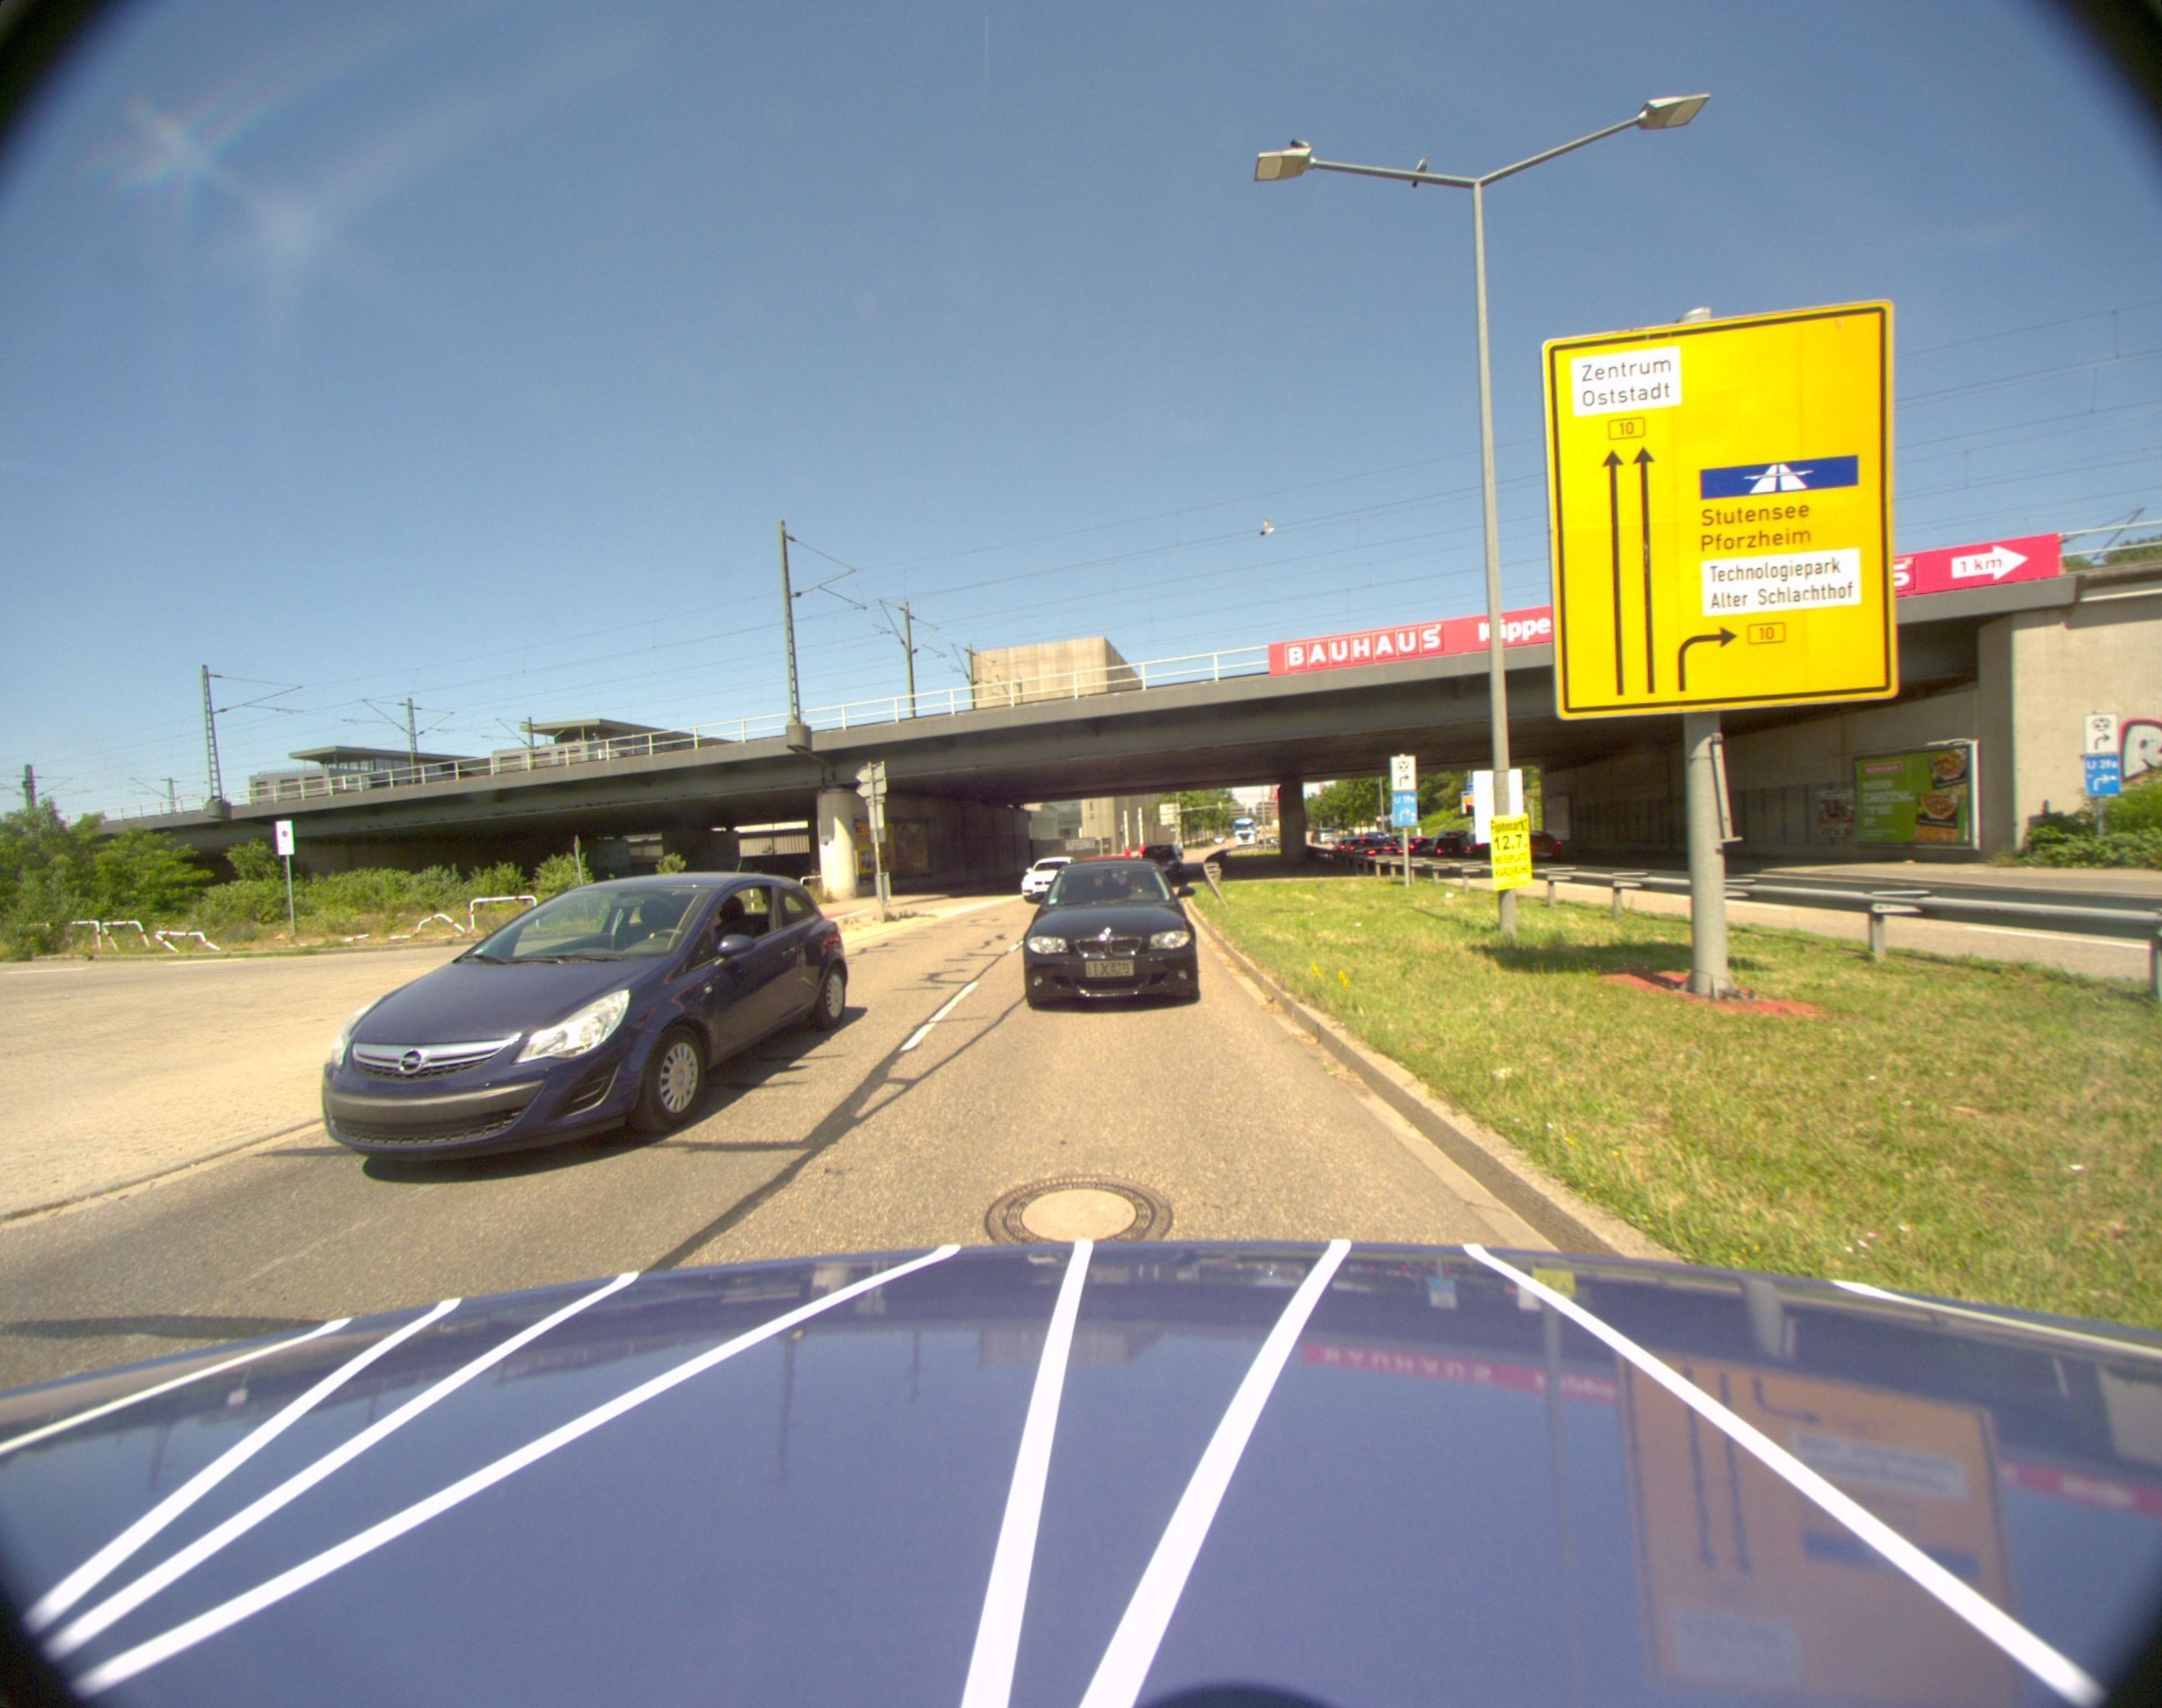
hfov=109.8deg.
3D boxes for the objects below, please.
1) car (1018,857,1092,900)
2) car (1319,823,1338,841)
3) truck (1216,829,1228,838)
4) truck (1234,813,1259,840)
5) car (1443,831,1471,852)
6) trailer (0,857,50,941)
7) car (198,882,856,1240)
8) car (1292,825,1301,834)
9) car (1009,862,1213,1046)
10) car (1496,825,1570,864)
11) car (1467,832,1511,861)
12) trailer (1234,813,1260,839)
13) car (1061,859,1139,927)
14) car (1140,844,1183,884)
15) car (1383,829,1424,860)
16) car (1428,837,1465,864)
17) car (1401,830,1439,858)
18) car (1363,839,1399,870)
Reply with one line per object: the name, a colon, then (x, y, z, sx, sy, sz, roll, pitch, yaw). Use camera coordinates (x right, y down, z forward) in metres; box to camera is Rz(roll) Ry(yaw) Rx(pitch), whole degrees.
car: (-0.867, 0.858, 28.143, 1.761, 1.435, 4.056, -1, 0, 12)
car: (29.854, -2.679, 91.644, 1.996, 2.002, 4.004, -2, 1, 17)
truck: (25.495, -3.649, 137.128, 1.729, 1.493, 4.003, -2, 1, 14)
truck: (22.747, -3.734, 104.344, 3.017, 3.398, 6.572, -2, 1, 14)
car: (23.631, -0.814, 47.795, 1.184, 1.241, 2.695, -2, 1, 19)
trailer: (-53.863, 2.280, 34.638, 2.582, 4.100, 10.032, -3, 1, -18)
car: (-3.105, 1.019, 5.398, 1.650, 1.436, 3.891, -2, 0, 2)
car: (55.370, -6.283, 194.981, 1.996, 2.002, 4.003, -2, 1, 14)
car: (0.200, 0.873, 8.506, 1.682, 1.409, 4.055, -2, 1, -2)
car: (20.854, -0.462, 35.257, 1.774, 1.658, 4.018, -2, 1, 13)
car: (22.038, -0.433, 41.114, 1.572, 1.494, 3.411, -2, 1, 19)
trailer: (24.291, -3.970, 110.512, 2.960, 3.354, 13.906, -2, 1, 15)
car: (0.523, 0.835, 18.155, 1.646, 1.391, 4.053, -1, 0, 3)
car: (3.775, 0.402, 35.583, 1.845, 1.686, 3.701, -2, 1, 6)
car: (20.826, -0.627, 49.203, 1.905, 1.849, 4.004, -2, 1, 16)
car: (17.603, -0.172, 36.641, 1.269, 1.178, 2.781, -2, 1, 19)
car: (18.927, -0.571, 42.476, 1.617, 1.468, 3.437, -2, 1, 19)
car: (14.304, -0.004, 36.327, 1.410, 1.311, 3.265, -2, 1, 19)
